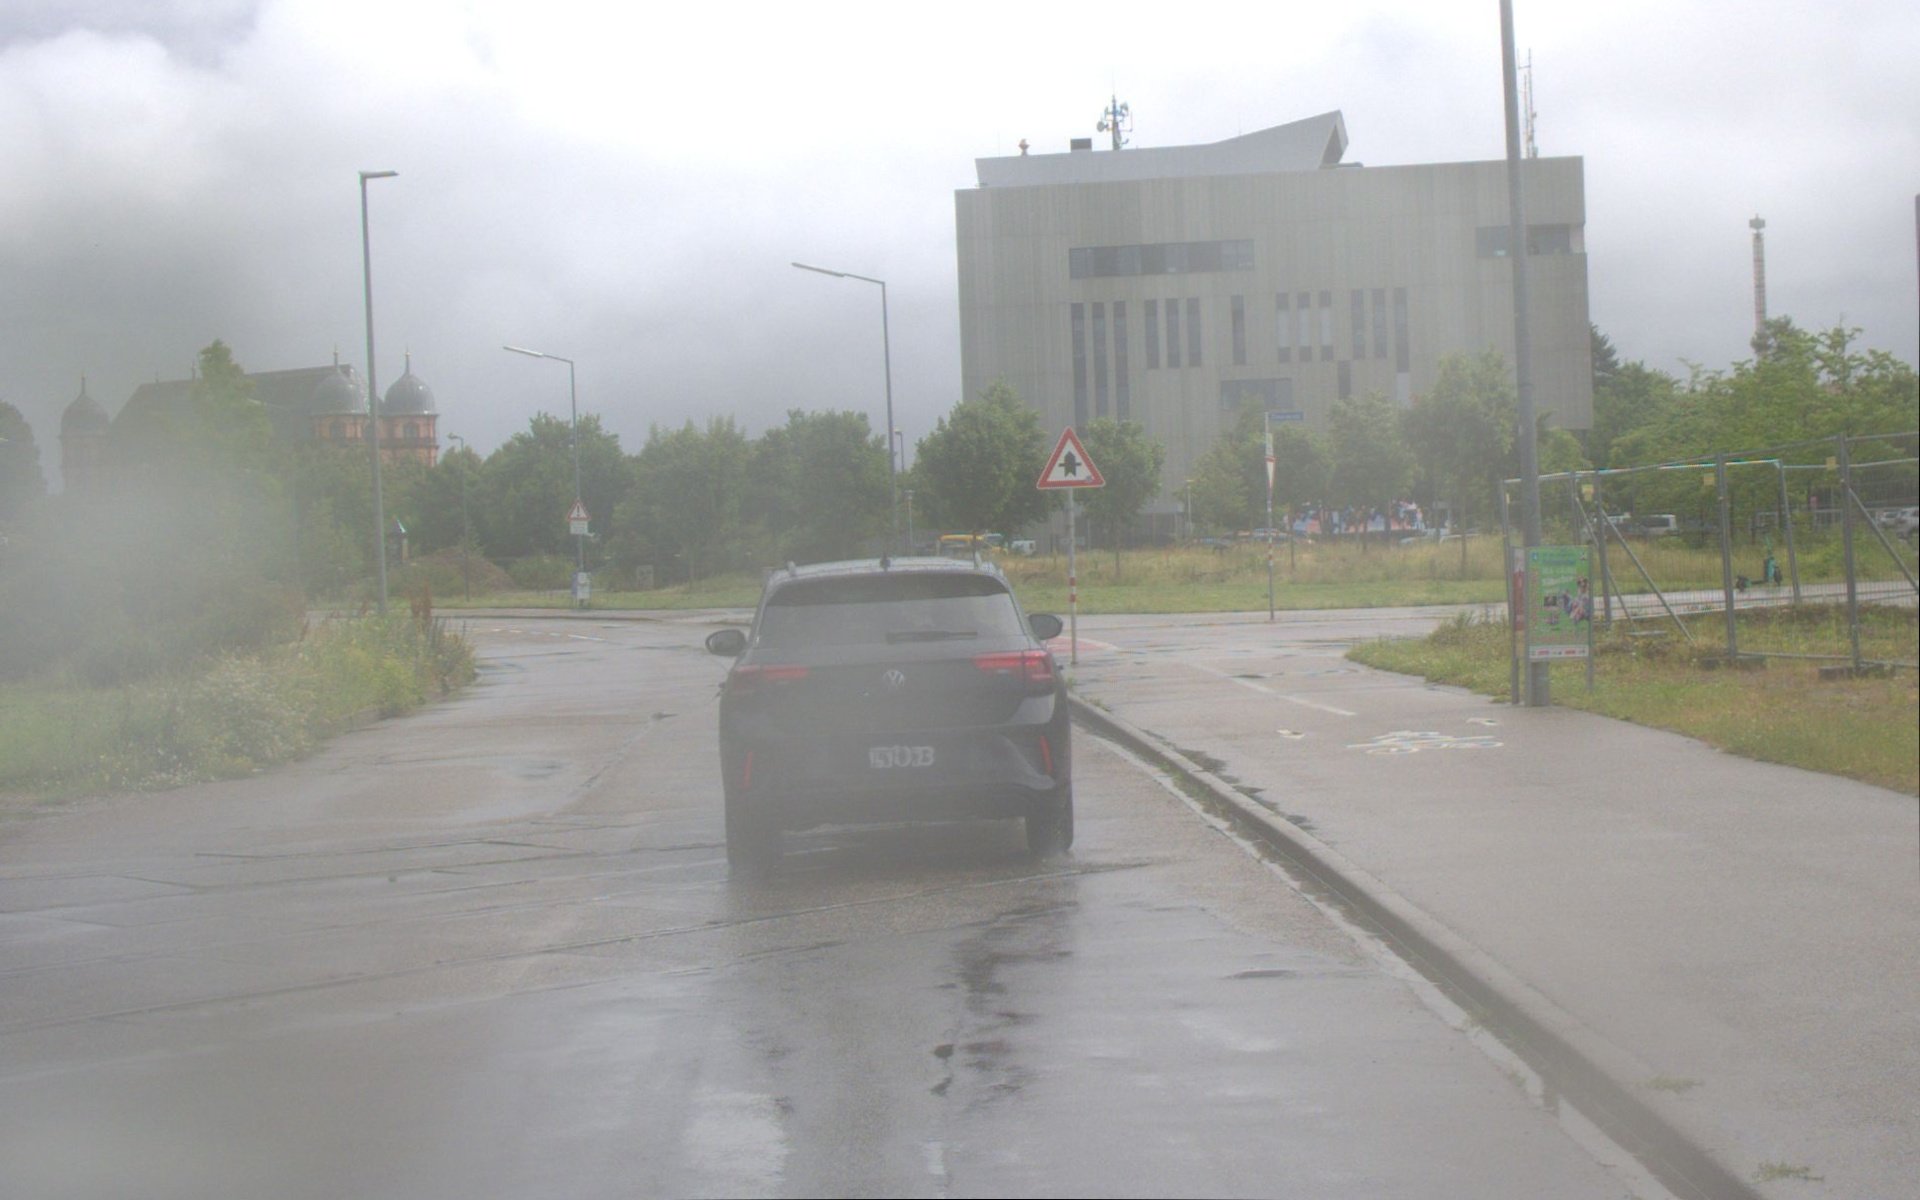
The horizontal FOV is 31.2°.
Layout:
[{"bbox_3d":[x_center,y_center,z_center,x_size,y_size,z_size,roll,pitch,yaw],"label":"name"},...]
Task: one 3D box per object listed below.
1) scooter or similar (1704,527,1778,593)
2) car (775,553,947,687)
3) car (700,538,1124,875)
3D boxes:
[{"bbox_3d":[14.983,-0.769,65.956,1.280,1.183,0.503,-4,3,-22],"label":"scooter or similar"},{"bbox_3d":[-1.279,0.205,42.693,1.841,1.437,4.001,-5,1,-4],"label":"car"},{"bbox_3d":[-0.305,0.477,18.557,1.987,1.515,4.001,-2,1,-2],"label":"car"}]
